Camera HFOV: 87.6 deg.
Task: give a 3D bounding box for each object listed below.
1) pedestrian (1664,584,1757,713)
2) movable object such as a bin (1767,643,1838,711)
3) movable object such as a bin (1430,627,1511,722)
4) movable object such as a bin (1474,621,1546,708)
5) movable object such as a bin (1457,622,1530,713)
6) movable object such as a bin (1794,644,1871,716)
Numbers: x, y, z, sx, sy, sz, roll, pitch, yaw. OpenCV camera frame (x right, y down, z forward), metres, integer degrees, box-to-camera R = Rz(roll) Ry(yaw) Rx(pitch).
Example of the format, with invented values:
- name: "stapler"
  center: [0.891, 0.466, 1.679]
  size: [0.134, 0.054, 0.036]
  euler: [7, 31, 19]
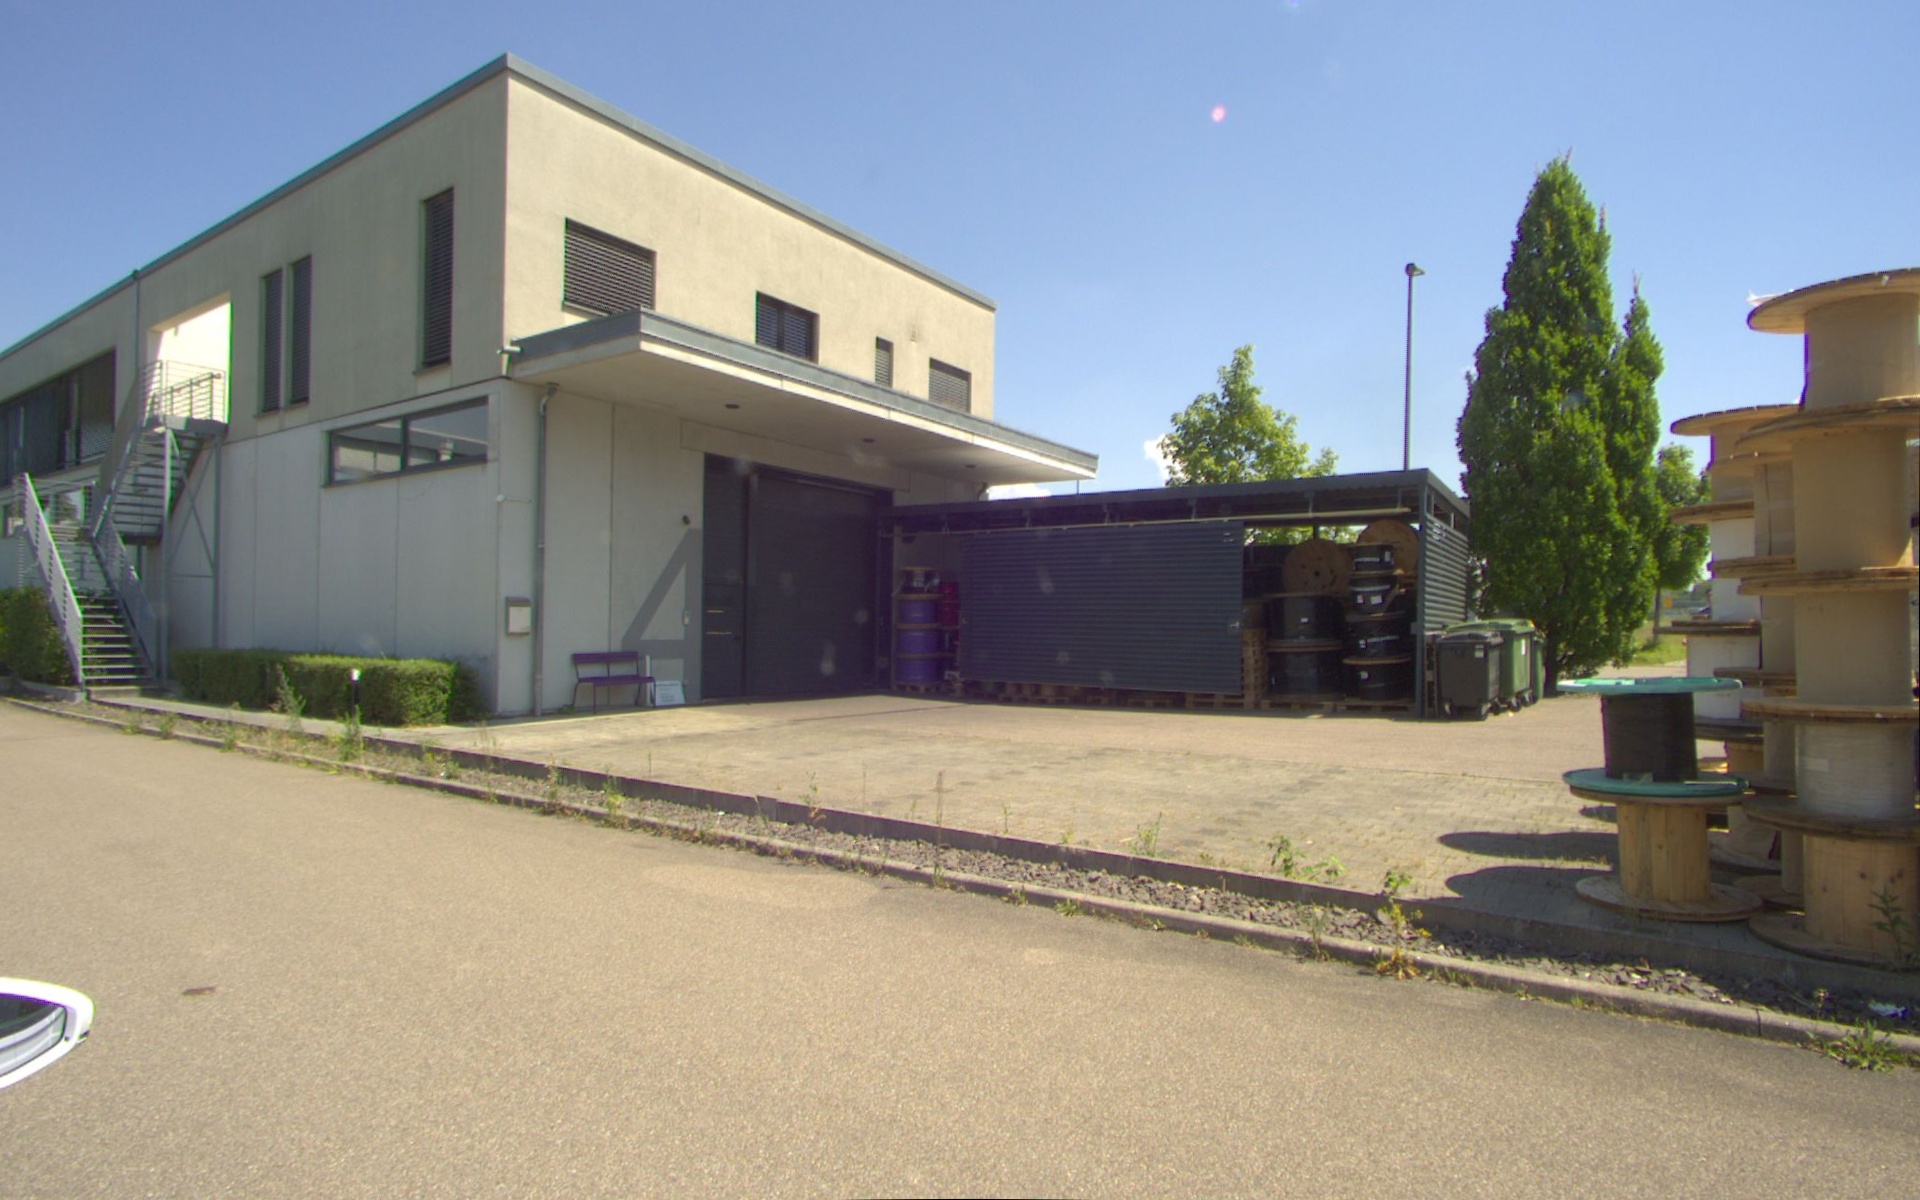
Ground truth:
- name: "pedestrian"
  center: [10.791, 0.682, 14.414]
  size: [0.756, 1.792, 0.806]
  euler: [0, 0, -25]
- name: "movable object such as a bin"
  center: [11.901, 1.081, 14.159]
  size: [0.537, 0.929, 0.585]
  euler: [-1, -1, 11]
- name: "movable object such as a bin"
  center: [7.173, 1.022, 14.059]
  size: [0.793, 1.266, 0.869]
  euler: [-1, -1, 43]
- name: "movable object such as a bin"
  center: [8.595, 0.989, 15.641]
  size: [0.793, 1.315, 0.803]
  euler: [-1, -1, 44]
- name: "movable object such as a bin"
  center: [8.006, 0.991, 15.022]
  size: [0.793, 1.315, 0.749]
  euler: [-1, -1, 44]
- name: "movable object such as a bin"
  center: [11.769, 1.072, 13.522]
  size: [0.537, 0.929, 0.585]
  euler: [-1, -1, 11]
